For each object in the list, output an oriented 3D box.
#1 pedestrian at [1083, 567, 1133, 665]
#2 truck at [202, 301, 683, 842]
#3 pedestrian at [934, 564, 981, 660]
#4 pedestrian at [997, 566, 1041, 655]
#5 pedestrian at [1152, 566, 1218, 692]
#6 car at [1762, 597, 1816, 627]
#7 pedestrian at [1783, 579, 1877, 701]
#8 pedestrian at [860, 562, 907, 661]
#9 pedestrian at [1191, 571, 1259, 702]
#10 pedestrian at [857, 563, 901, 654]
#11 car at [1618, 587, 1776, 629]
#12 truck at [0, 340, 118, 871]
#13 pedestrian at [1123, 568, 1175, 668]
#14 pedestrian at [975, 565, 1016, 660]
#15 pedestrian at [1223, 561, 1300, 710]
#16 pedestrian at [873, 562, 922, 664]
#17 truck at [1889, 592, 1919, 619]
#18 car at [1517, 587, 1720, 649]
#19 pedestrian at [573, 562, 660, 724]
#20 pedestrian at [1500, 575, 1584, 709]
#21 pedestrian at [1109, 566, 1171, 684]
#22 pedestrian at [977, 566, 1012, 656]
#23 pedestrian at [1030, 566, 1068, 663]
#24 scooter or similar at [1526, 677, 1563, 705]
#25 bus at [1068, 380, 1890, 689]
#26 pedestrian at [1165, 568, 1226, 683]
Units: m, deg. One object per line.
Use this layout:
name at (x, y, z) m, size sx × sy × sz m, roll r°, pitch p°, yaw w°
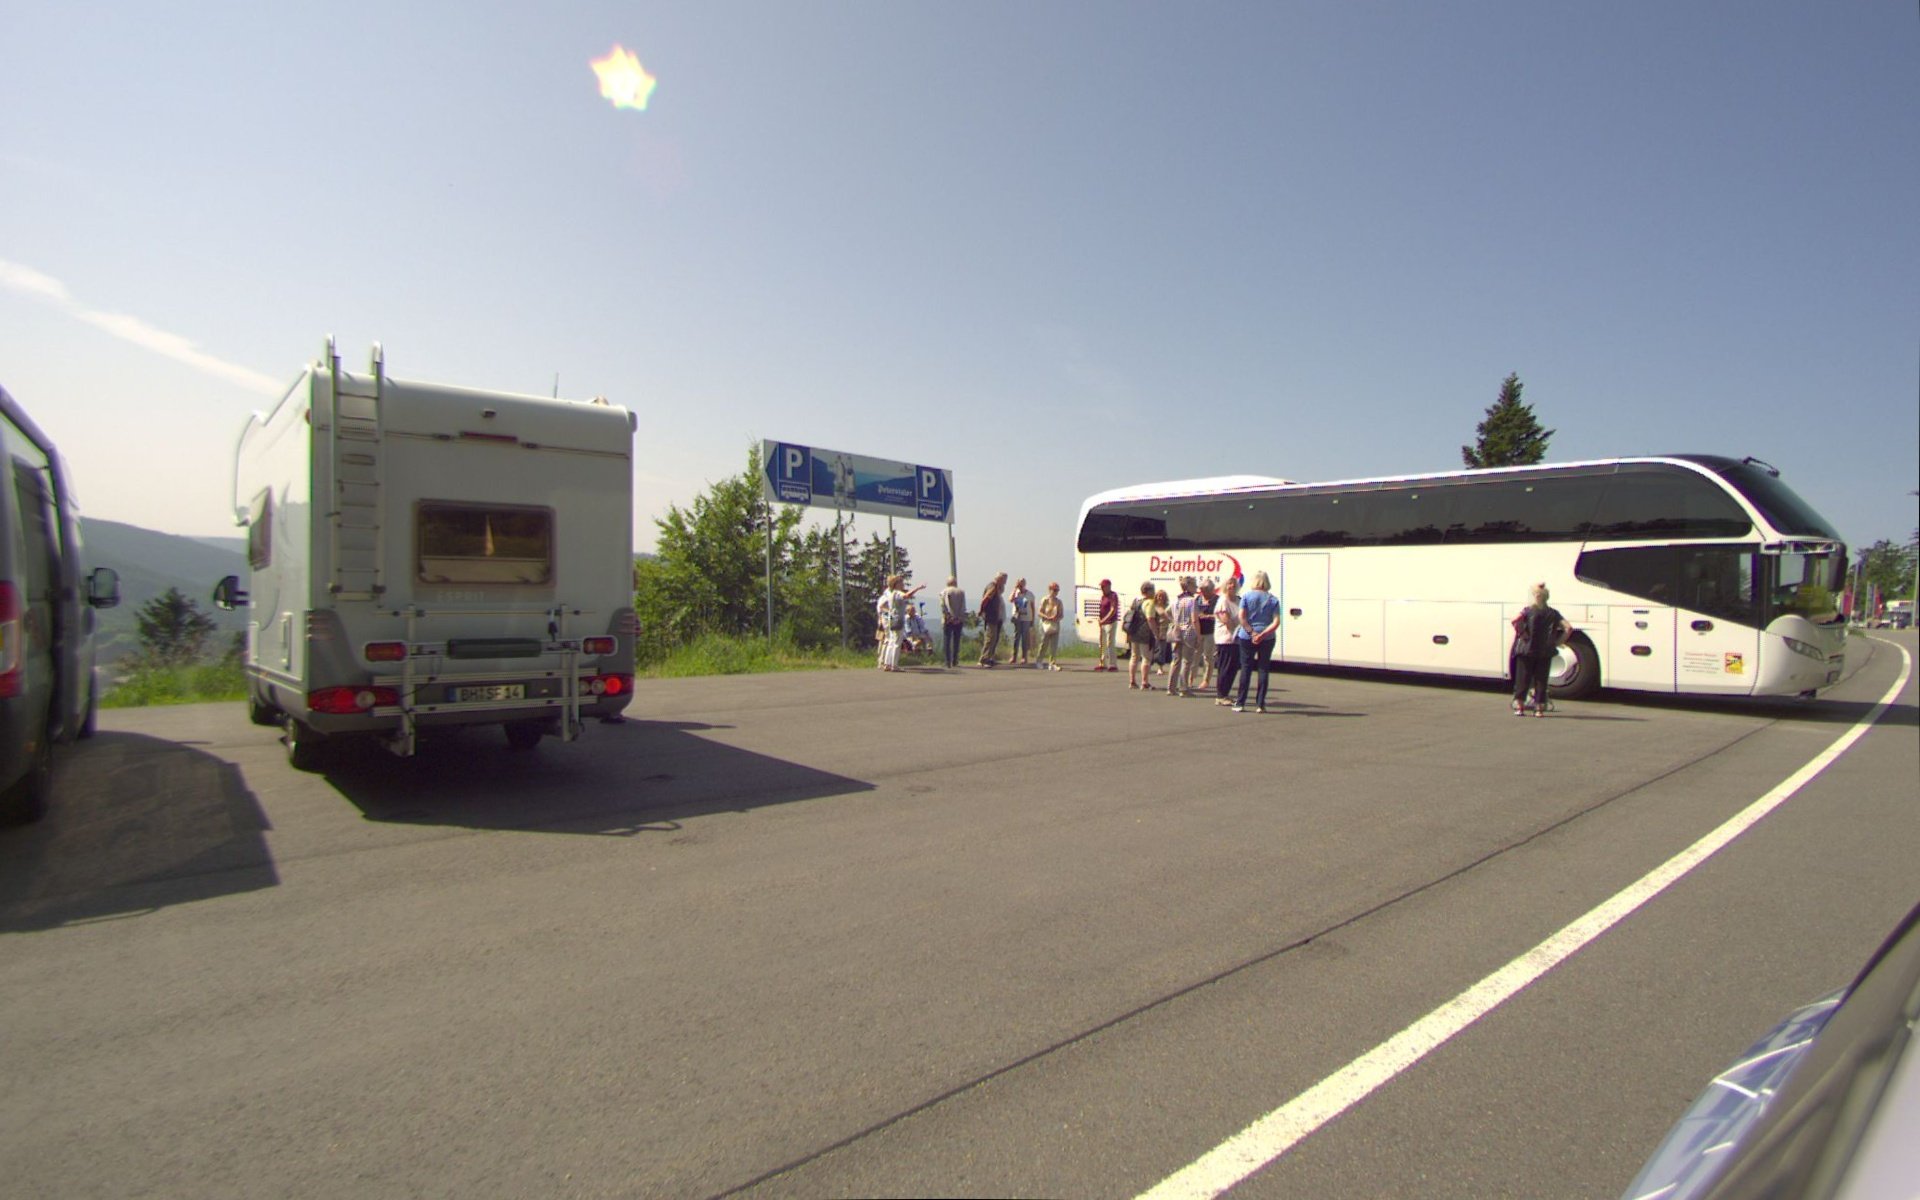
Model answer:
pedestrian at (2.672, 0.274, 18.252) m, size 0.615 × 1.718 × 0.633 m, roll 1°, pitch 1°, yaw -26°
truck at (-5.044, -0.272, 9.174) m, size 2.488 × 3.235 × 6.074 m, roll 0°, pitch 2°, yaw -41°
pedestrian at (-0.053, 0.210, 18.501) m, size 0.615 × 1.718 × 0.633 m, roll 1°, pitch 1°, yaw -26°
pedestrian at (1.156, 0.201, 19.923) m, size 0.615 × 1.718 × 0.633 m, roll 1°, pitch 1°, yaw -26°
pedestrian at (3.161, 0.393, 14.271) m, size 0.615 × 1.719 × 0.633 m, roll 1°, pitch 1°, yaw -26°
car at (47.534, 0.654, 58.114) m, size 1.987 × 1.565 × 3.951 m, roll 2°, pitch 2°, yaw 34°
pedestrian at (12.282, 0.542, 14.294) m, size 0.694 × 1.663 × 0.746 m, roll 1°, pitch 1°, yaw -24°
pedestrian at (-1.372, 0.193, 18.102) m, size 0.615 × 1.718 × 0.633 m, roll 1°, pitch 1°, yaw -26°
pedestrian at (3.486, 0.455, 13.345) m, size 0.615 × 1.671 × 0.633 m, roll -1°, pitch 1°, yaw -16°
pedestrian at (-1.569, 0.152, 19.556) m, size 0.615 × 1.718 × 0.633 m, roll 1°, pitch 1°, yaw -26°
car at (30.449, 0.357, 41.918) m, size 5.095 × 1.640 × 1.970 m, roll -2°, pitch -2°, yaw 42°
truck at (-7.351, -0.073, 6.911) m, size 2.298 × 2.623 × 6.276 m, roll 1°, pitch 1°, yaw -39°
pedestrian at (3.311, 0.300, 17.738) m, size 0.615 × 1.718 × 0.633 m, roll 1°, pitch 1°, yaw -26°
pedestrian at (0.654, 0.218, 18.805) m, size 0.498 × 1.718 × 0.633 m, roll 1°, pitch 1°, yaw -26°
pedestrian at (3.721, 0.418, 12.518) m, size 0.615 × 1.779 × 0.633 m, roll 1°, pitch 1°, yaw -26°
pedestrian at (-1.087, 0.213, 17.500) m, size 0.615 × 1.718 × 0.633 m, roll 1°, pitch 1°, yaw -26°
truck at (106.440, 0.641, 110.836) m, size 8.576 × 2.865 × 2.877 m, roll 1°, pitch 1°, yaw -17°
car at (16.513, 0.395, 25.527) m, size 1.735 × 1.438 × 3.994 m, roll 0°, pitch 0°, yaw -40°
pedestrian at (-3.652, 0.433, 10.788) m, size 0.637 × 1.661 × 0.630 m, roll 1°, pitch 1°, yaw 9°
pedestrian at (7.171, 0.498, 12.477) m, size 0.615 × 1.586 × 0.633 m, roll 1°, pitch 1°, yaw -26°
pedestrian at (2.679, 0.353, 15.076) m, size 0.615 × 1.718 × 0.633 m, roll 1°, pitch 1°, yaw -26°
pedestrian at (0.660, 0.201, 19.480) m, size 0.475 × 1.718 × 0.469 m, roll 1°, pitch 1°, yaw -26°
pedestrian at (1.617, 0.250, 18.303) m, size 0.622 × 1.718 × 0.626 m, roll 1°, pitch 1°, yaw 9°
scooter or similar at (7.572, 1.175, 13.107) m, size 0.320 × 0.315 × 0.286 m, roll 1°, pitch 1°, yaw -31°
bus at (7.432, -0.975, 17.844) m, size 2.787 × 3.622 × 12.881 m, roll 0°, pitch 2°, yaw -38°
pedestrian at (3.590, 0.374, 15.468) m, size 0.615 × 1.700 × 0.633 m, roll 1°, pitch 1°, yaw -26°
